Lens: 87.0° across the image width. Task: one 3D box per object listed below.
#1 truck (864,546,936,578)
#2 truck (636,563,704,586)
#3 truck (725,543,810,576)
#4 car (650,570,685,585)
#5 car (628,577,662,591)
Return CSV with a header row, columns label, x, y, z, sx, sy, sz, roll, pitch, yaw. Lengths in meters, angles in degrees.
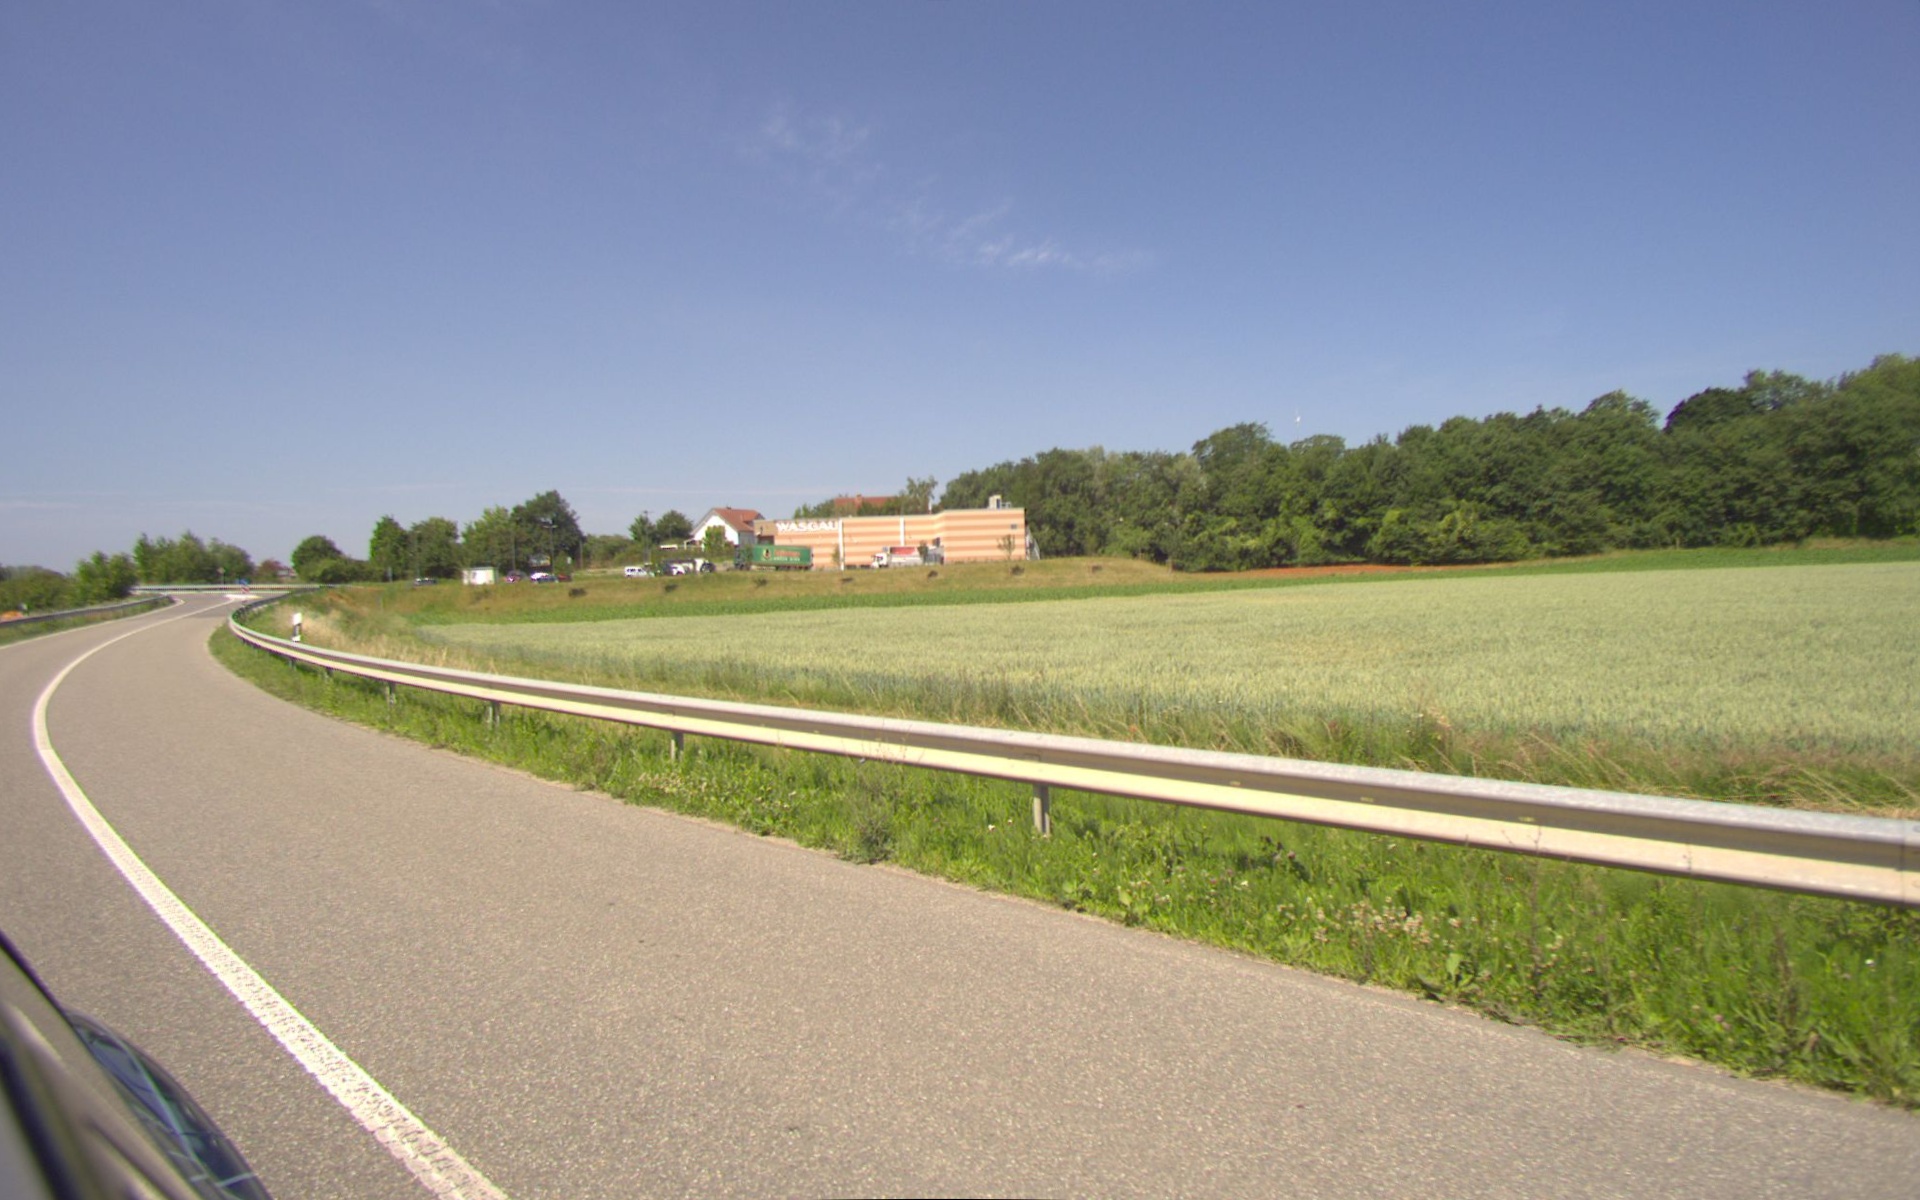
label,x,y,z,sx,sy,sz,roll,pitch,yaw
truck,-7.671,-4.909,129.185,8.742,3.589,2.885,-3,4,-8
truck,-48.403,-4.331,169.133,10.537,3.214,2.456,-4,4,-24
truck,-23.379,-4.948,123.403,9.792,3.502,2.882,-3,4,-5
car,-39.180,-3.027,135.457,4.263,1.716,2.005,-3,4,-10
car,-44.414,-2.280,142.735,4.263,1.609,2.005,-3,4,-11
